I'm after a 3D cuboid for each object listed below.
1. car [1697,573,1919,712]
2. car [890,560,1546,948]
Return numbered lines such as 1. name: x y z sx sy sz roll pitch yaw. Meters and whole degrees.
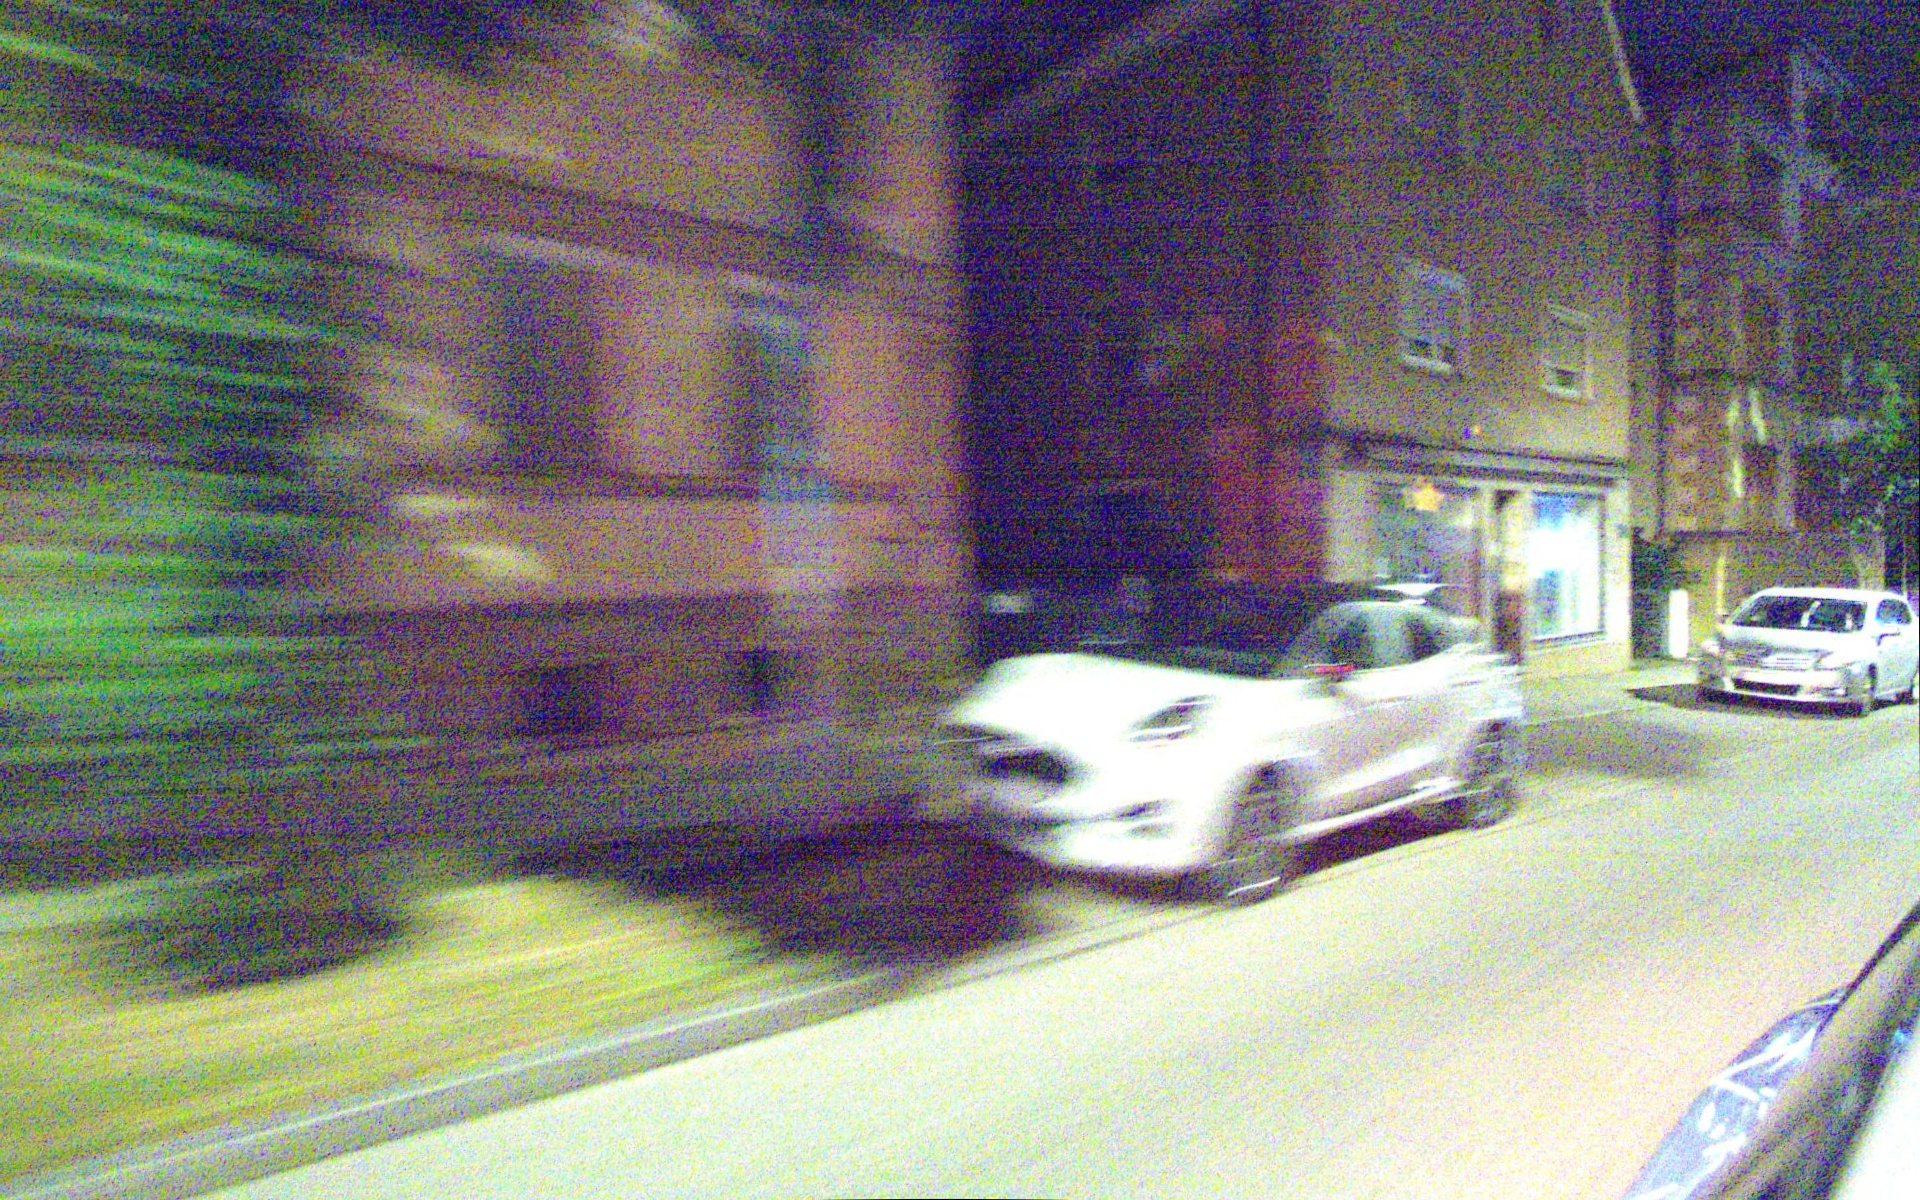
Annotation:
1. car: 12.223 0.511 14.226 4.277 1.616 1.744 0 3 -37
2. car: 1.747 0.620 6.214 3.972 1.572 1.865 0 3 -39
